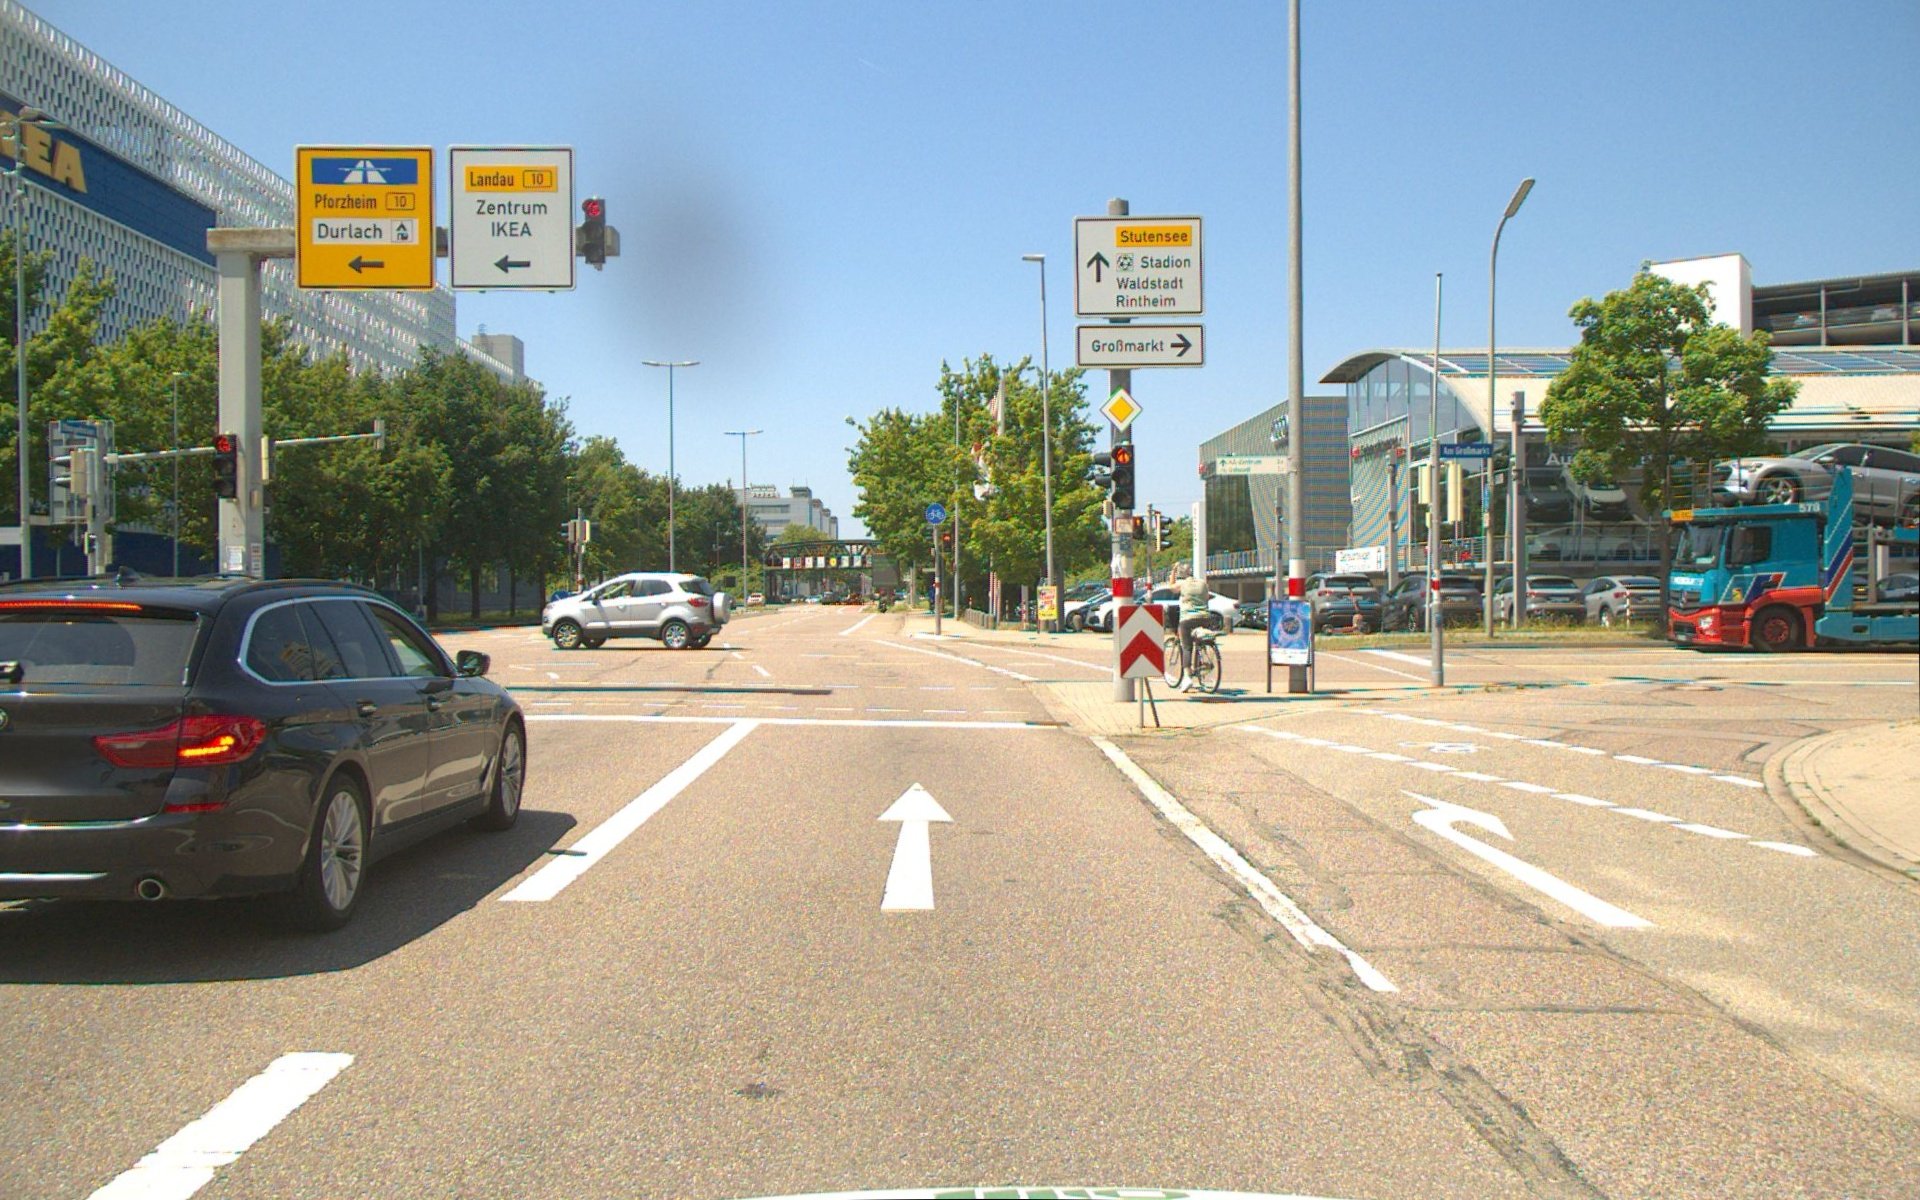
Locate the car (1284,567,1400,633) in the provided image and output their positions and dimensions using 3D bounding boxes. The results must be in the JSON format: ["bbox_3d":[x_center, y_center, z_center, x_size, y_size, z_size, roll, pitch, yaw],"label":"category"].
[{"bbox_3d":[10.146,-0.044,44.245,1.953,1.668,4.267,-1,1,-2],"label":"car"}]

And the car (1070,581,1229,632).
[{"bbox_3d":[5.774,0.212,50.890,4.644,1.482,2.000,-1,-1,0],"label":"car"}]

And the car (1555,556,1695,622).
[{"bbox_3d":[17.944,-0.337,44.866,1.847,1.668,4.523,-1,1,-2],"label":"car"}]

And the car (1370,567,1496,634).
[{"bbox_3d":[12.677,-0.033,44.613,1.953,1.668,4.556,-1,1,-2],"label":"car"}]

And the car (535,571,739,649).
[{"bbox_3d":[-7.159,0.203,36.784,4.105,1.680,1.716,0,0,8],"label":"car"}]

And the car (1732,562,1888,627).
[{"bbox_3d":[23.154,-0.198,45.248,1.791,1.668,4.472,-1,1,-3],"label":"car"}]

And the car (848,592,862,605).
[{"bbox_3d":[-14.914,-0.209,234.895,1.736,1.758,3.998,-1,0,-2],"label":"car"}]

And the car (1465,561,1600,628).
[{"bbox_3d":[15.340,-0.191,44.554,1.953,1.668,4.439,-1,1,-2],"label":"car"}]

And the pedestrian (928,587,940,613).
[{"bbox_3d":[-1.544,-0.016,97.311,0.654,1.537,0.736,-1,0,-2],"label":"pedestrian"}]

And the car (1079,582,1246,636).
[{"bbox_3d":[5.878,0.240,48.491,4.644,1.482,2.000,-1,1,0],"label":"car"}]

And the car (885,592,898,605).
[{"bbox_3d":[-9.735,-0.255,234.860,1.736,1.758,3.998,-1,0,-2],"label":"car"}]

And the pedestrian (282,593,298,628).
[{"bbox_3d":[-28.571,0.449,70.490,0.452,1.508,0.483,-1,0,2],"label":"pedestrian"}]

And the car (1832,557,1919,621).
[{"bbox_3d":[25.966,-0.335,45.167,1.791,1.668,4.473,-1,1,-2],"label":"car"}]

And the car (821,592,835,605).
[{"bbox_3d":[-18.120,-0.251,226.898,1.736,1.758,3.998,-1,0,-2],"label":"car"}]

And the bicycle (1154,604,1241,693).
[{"bbox_3d":[3.295,0.657,23.105,0.771,1.147,1.918,0,1,-6],"label":"bicycle"}]

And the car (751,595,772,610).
[{"bbox_3d":[-23.379,0.327,194.598,1.887,1.694,4.089,-1,0,1],"label":"car"}]

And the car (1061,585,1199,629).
[{"bbox_3d":[6.058,0.233,59.275,4.647,1.482,1.999,-1,1,-4],"label":"car"}]

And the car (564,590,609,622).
[{"bbox_3d":[-24.585,0.383,109.043,1.953,2.043,4.762,-1,0,-2],"label":"car"}]

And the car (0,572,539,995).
[{"bbox_3d":[-3.448,0.619,8.145,1.764,1.491,4.621,0,1,-3],"label":"car"}]

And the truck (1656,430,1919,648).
[{"bbox_3d":[19.909,-1.232,33.358,10.395,4.153,3.102,-1,1,3],"label":"truck"}]

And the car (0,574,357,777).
[{"bbox_3d":[-6.664,0.551,14.485,1.764,1.520,3.993,0,0,-8],"label":"car"}]

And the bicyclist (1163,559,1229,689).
[{"bbox_3d":[3.277,0.328,23.023,0.719,1.779,0.753,1,1,-6],"label":"bicyclist"}]

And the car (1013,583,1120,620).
[{"bbox_3d":[4.855,0.058,75.791,4.648,1.482,1.999,-2,1,-4],"label":"car"}]

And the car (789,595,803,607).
[{"bbox_3d":[-22.714,0.139,229.128,1.697,1.452,3.704,-3,0,-2],"label":"car"}]
